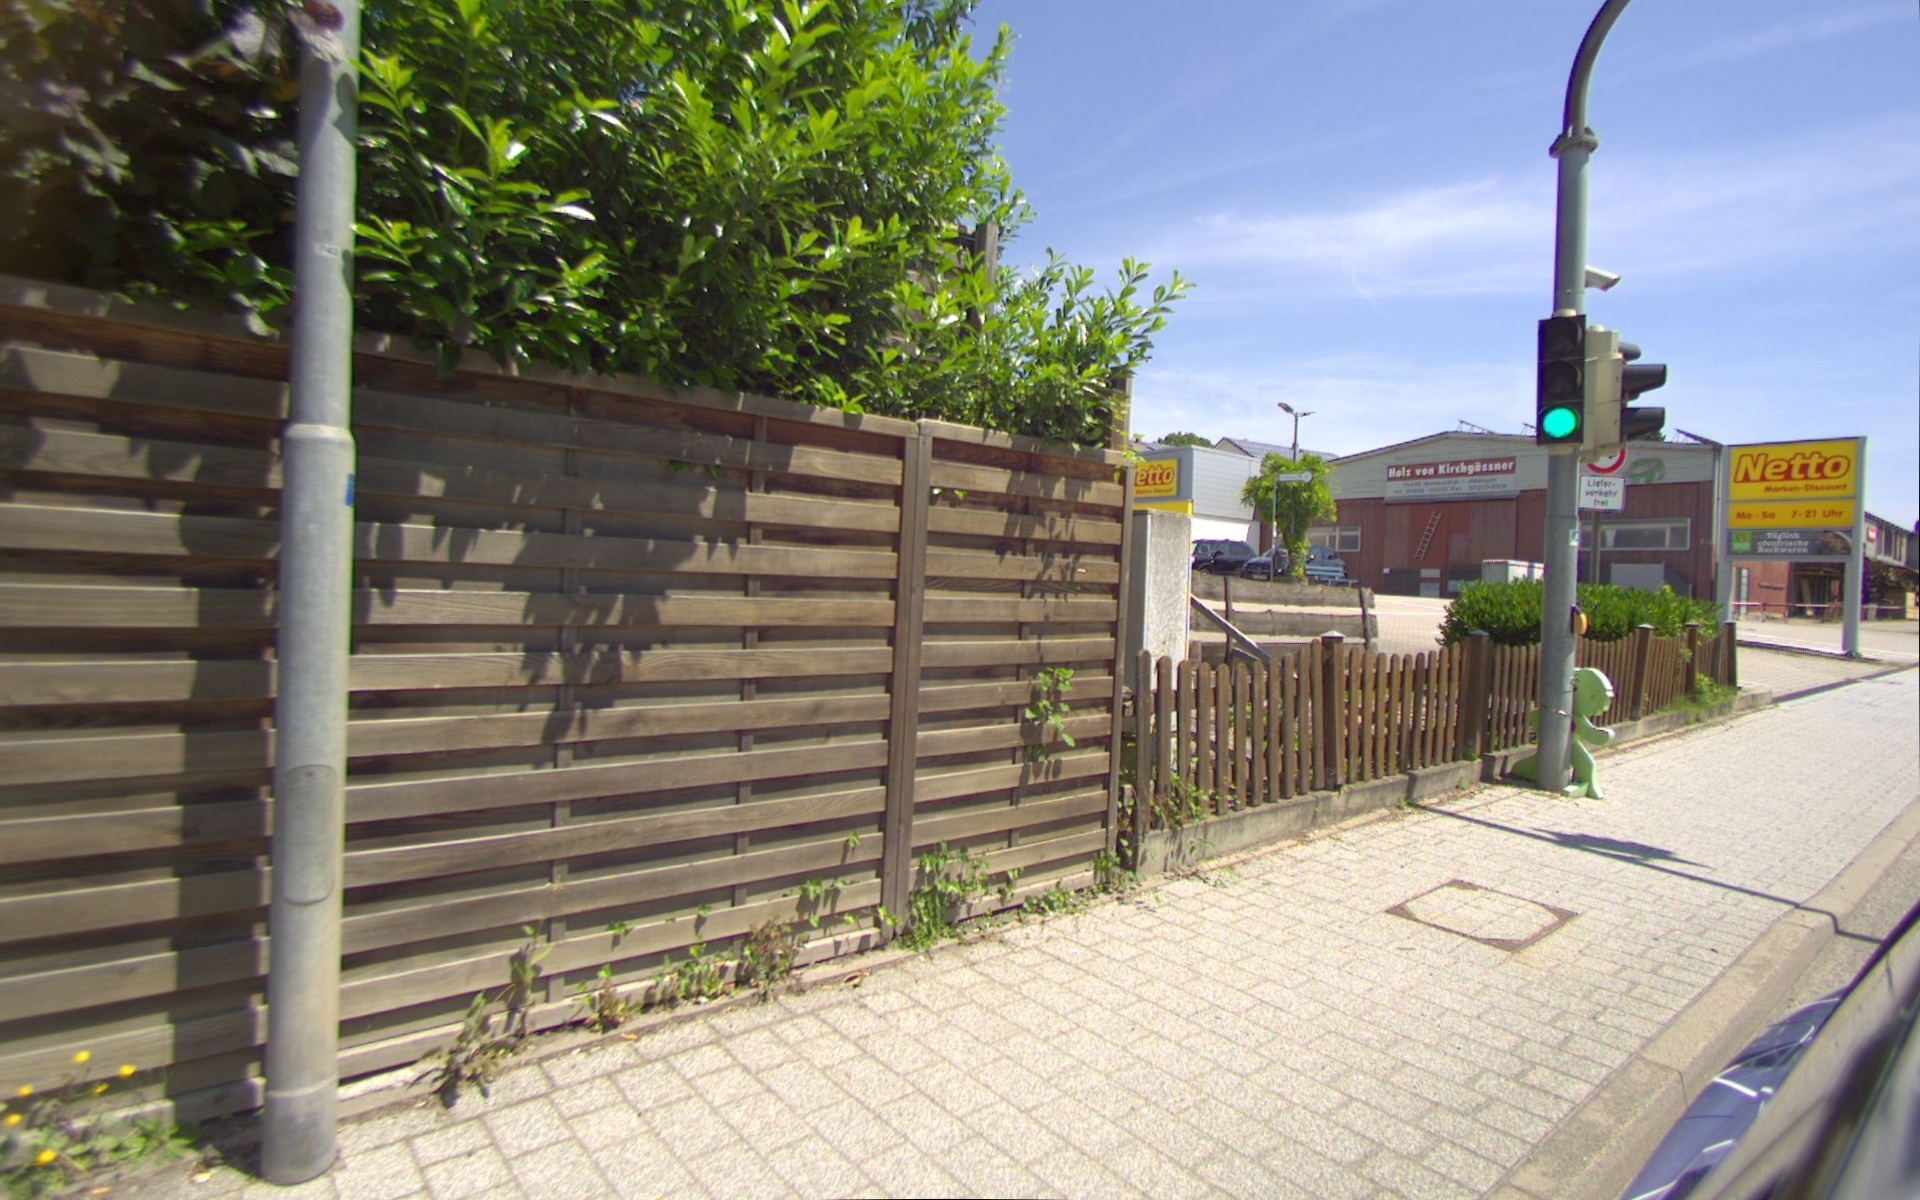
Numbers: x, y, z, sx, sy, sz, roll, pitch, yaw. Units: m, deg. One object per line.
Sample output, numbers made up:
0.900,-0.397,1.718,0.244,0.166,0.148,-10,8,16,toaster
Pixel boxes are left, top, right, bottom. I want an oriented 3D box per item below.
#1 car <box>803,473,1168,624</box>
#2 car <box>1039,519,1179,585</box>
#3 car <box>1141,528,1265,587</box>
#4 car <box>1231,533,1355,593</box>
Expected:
0.447,-0.593,12.481,4.423,1.480,1.635,0,7,-40,car
4.511,-1.425,30.385,4.056,1.768,1.913,0,4,-41,car
8.125,-1.396,33.707,4.056,1.768,1.913,0,4,-41,car
10.441,-1.125,31.564,4.139,1.615,1.910,2,2,-44,car
